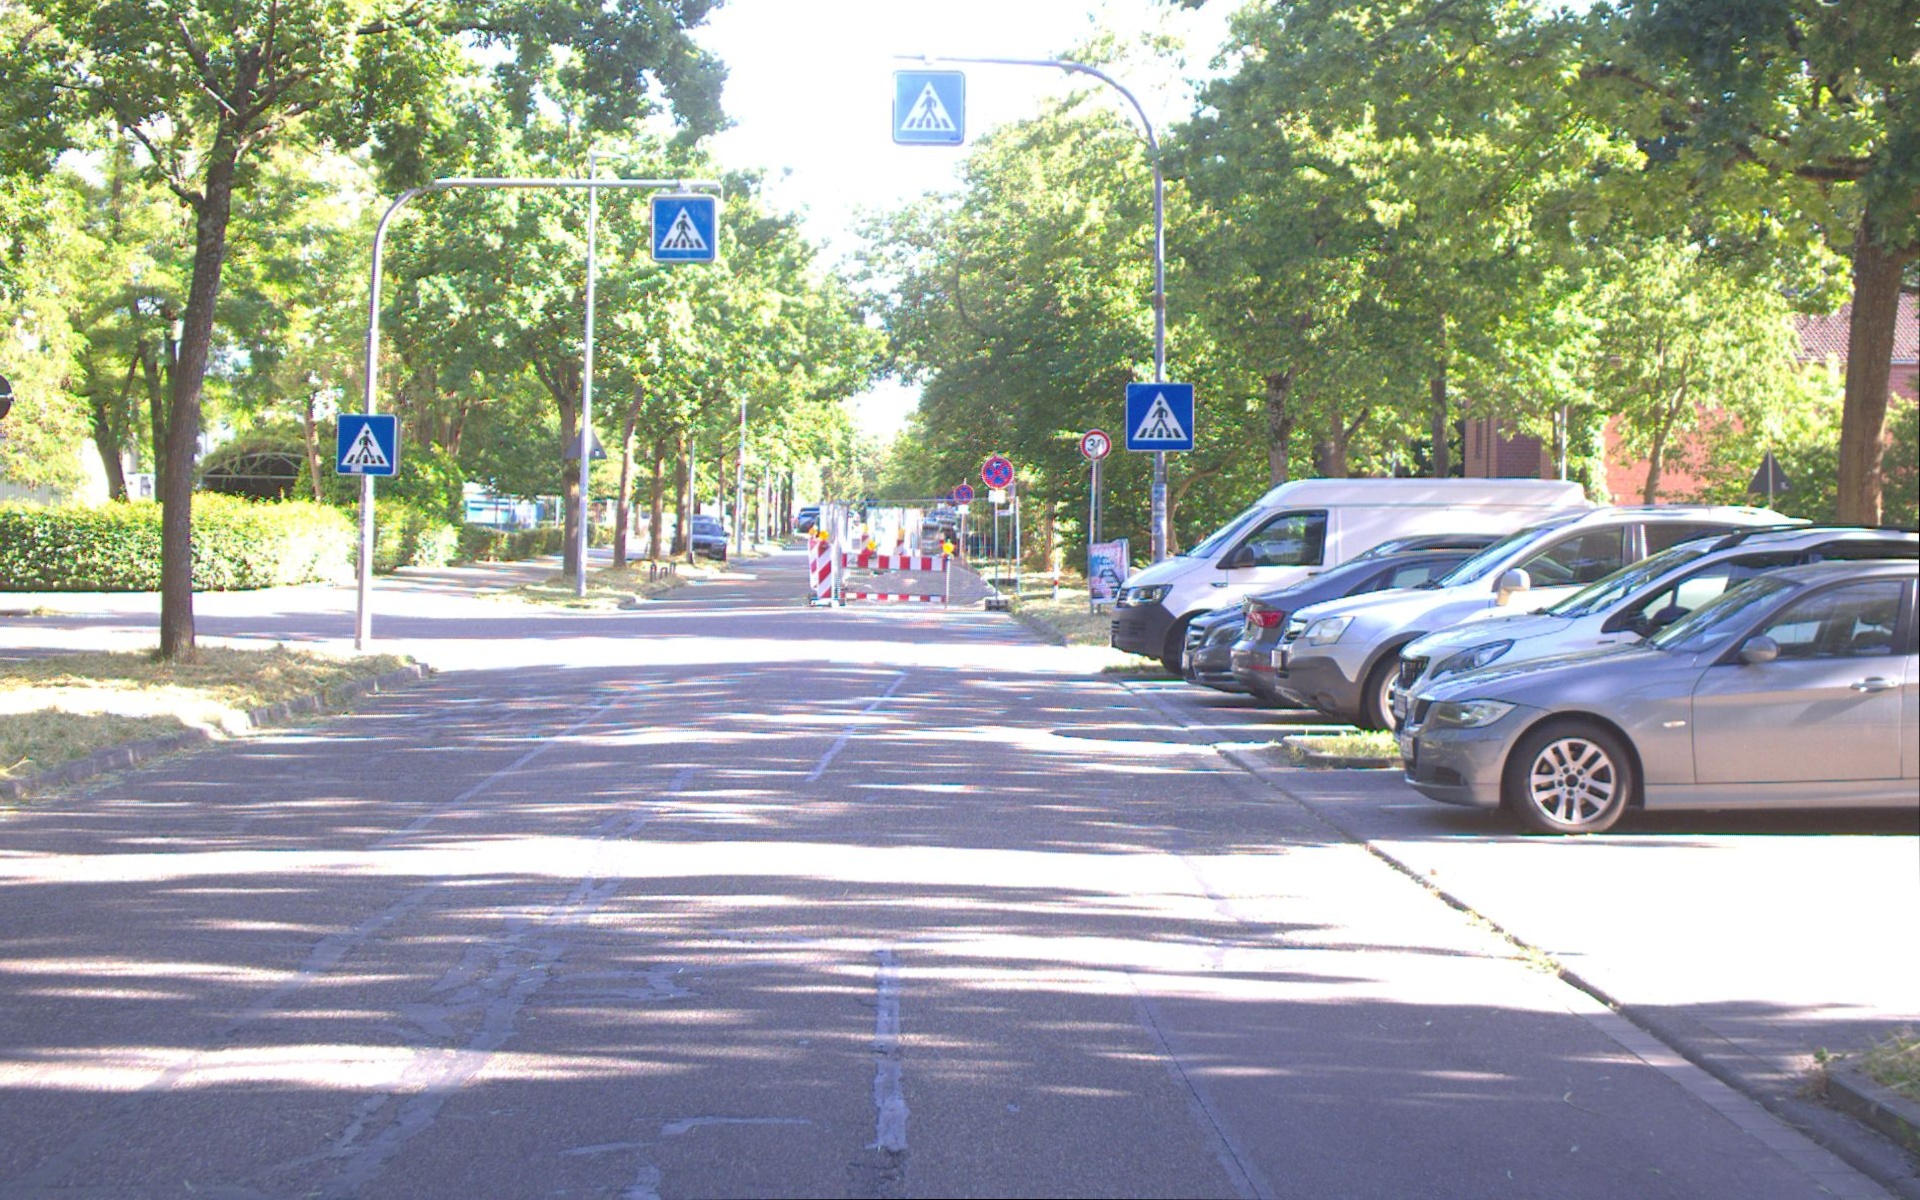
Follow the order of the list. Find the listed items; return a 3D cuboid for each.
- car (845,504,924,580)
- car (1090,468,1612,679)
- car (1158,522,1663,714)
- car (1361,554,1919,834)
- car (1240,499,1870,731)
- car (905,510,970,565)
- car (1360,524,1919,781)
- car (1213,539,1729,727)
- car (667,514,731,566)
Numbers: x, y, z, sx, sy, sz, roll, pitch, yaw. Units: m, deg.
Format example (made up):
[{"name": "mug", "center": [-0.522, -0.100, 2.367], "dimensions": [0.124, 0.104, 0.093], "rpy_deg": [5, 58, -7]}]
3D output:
[{"name": "car", "center": [-2.036, -1.563, 92.029], "dimensions": [1.993, 1.926, 4.000], "rpy_deg": [2, 1, -2]}, {"name": "car", "center": [4.058, -0.287, 36.288], "dimensions": [5.186, 2.098, 2.083], "rpy_deg": [1, 1, -2]}, {"name": "car", "center": [4.014, 0.139, 31.128], "dimensions": [4.212, 1.563, 1.934], "rpy_deg": [2, 1, -3]}, {"name": "car", "center": [4.494, 0.471, 18.383], "dimensions": [4.445, 1.385, 1.911], "rpy_deg": [0, 1, -1]}, {"name": "car", "center": [4.421, 0.089, 25.984], "dimensions": [4.384, 1.645, 1.851], "rpy_deg": [-1, 1, -3]}, {"name": "car", "center": [-0.768, -2.053, 112.996], "dimensions": [1.993, 1.711, 4.000], "rpy_deg": [2, 1, -2]}, {"name": "car", "center": [4.544, 0.290, 21.302], "dimensions": [3.884, 1.492, 1.777], "rpy_deg": [-1, 1, -1]}, {"name": "car", "center": [4.166, 0.250, 28.520], "dimensions": [3.987, 1.428, 1.901], "rpy_deg": [1, 1, 1]}, {"name": "car", "center": [-9.019, -2.067, 119.044], "dimensions": [1.993, 1.711, 4.000], "rpy_deg": [2, 1, -2]}]
